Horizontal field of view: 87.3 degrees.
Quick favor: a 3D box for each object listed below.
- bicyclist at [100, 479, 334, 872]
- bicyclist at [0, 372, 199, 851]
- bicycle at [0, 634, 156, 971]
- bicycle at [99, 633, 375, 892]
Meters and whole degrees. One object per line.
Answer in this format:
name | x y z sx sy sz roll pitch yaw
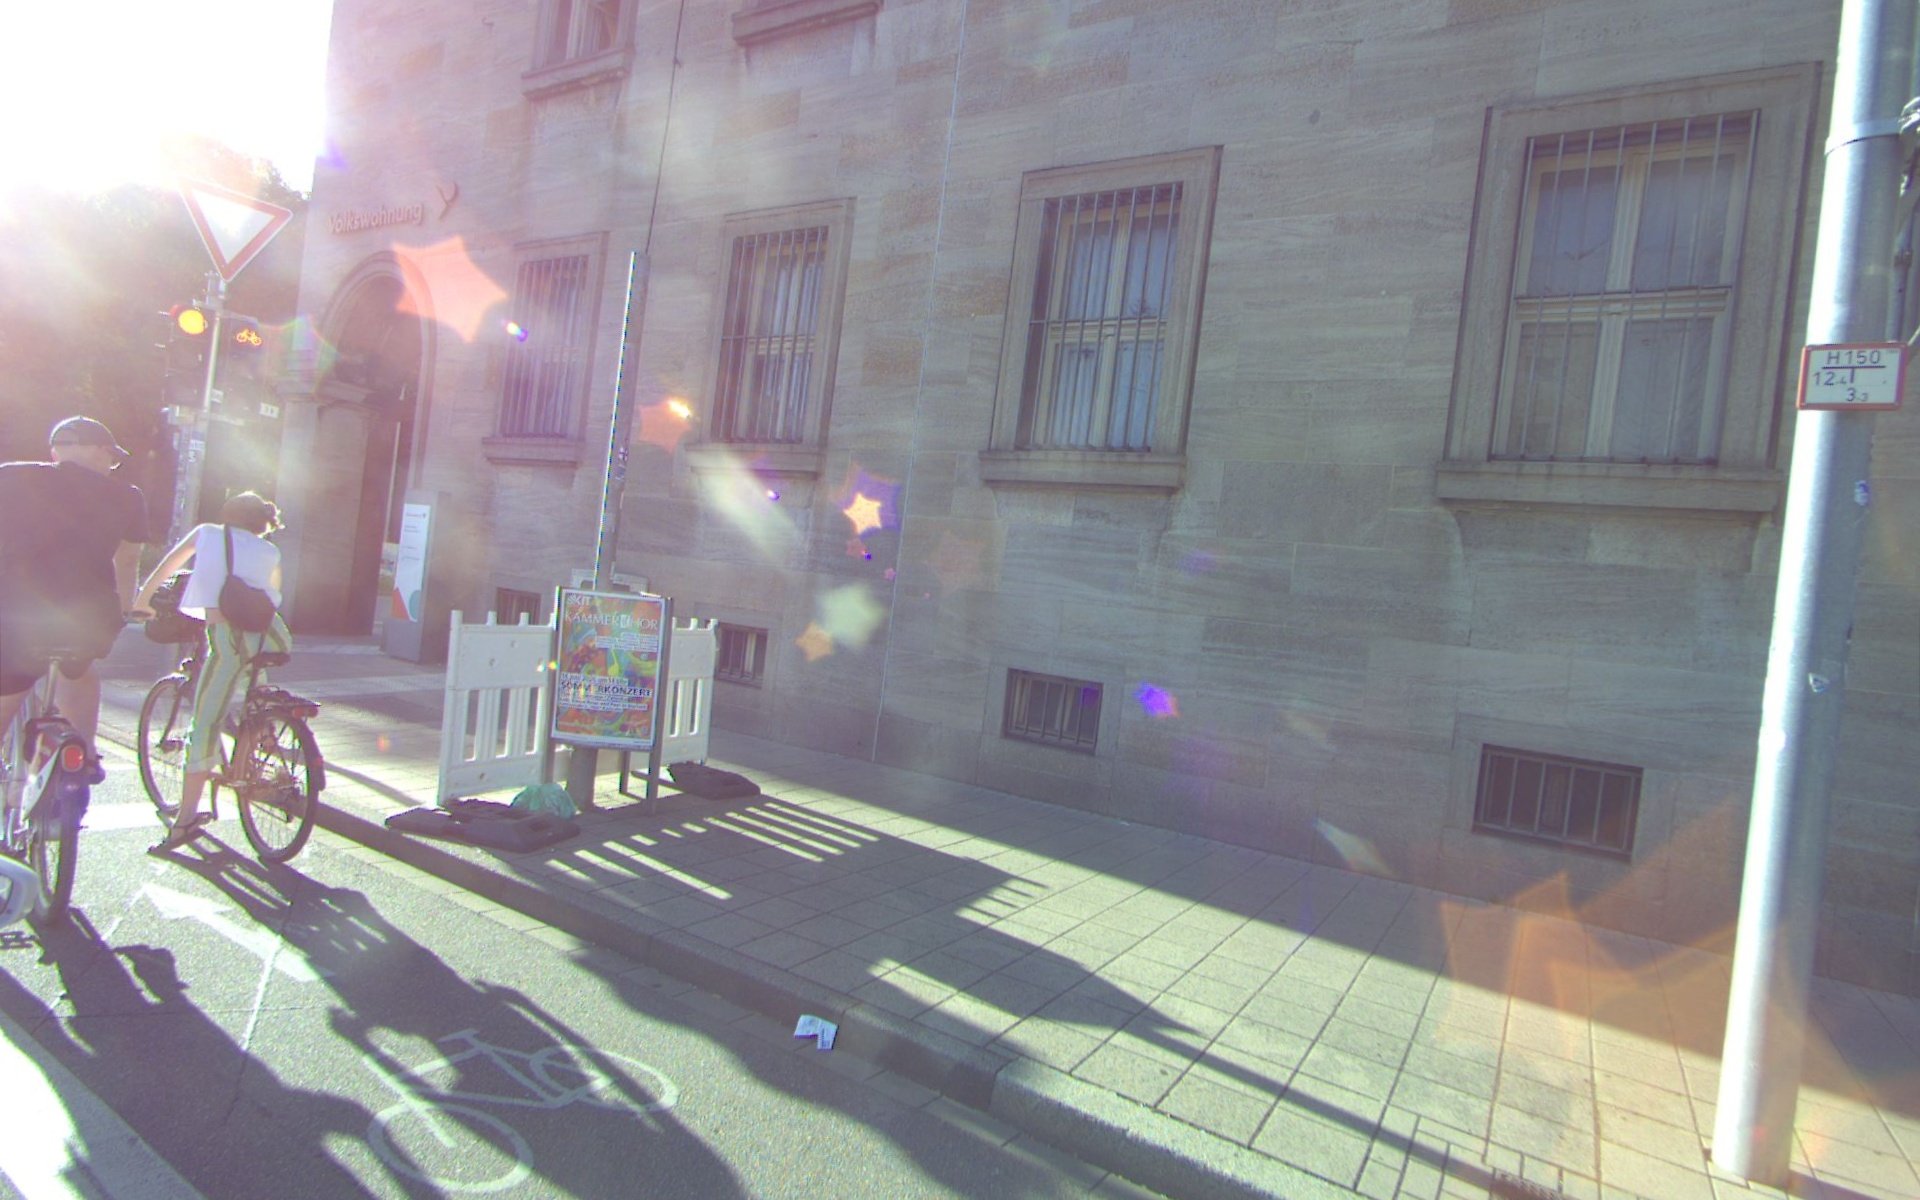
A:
bicyclist | -3.571 0.321 4.829 0.845 1.700 0.522 7 1 35
bicyclist | -3.541 0.042 3.906 0.647 1.698 0.669 7 1 40
bicycle | -3.745 0.695 4.041 1.923 0.916 0.388 7 0 41
bicycle | -3.632 0.723 4.982 1.920 0.887 0.427 7 0 35
